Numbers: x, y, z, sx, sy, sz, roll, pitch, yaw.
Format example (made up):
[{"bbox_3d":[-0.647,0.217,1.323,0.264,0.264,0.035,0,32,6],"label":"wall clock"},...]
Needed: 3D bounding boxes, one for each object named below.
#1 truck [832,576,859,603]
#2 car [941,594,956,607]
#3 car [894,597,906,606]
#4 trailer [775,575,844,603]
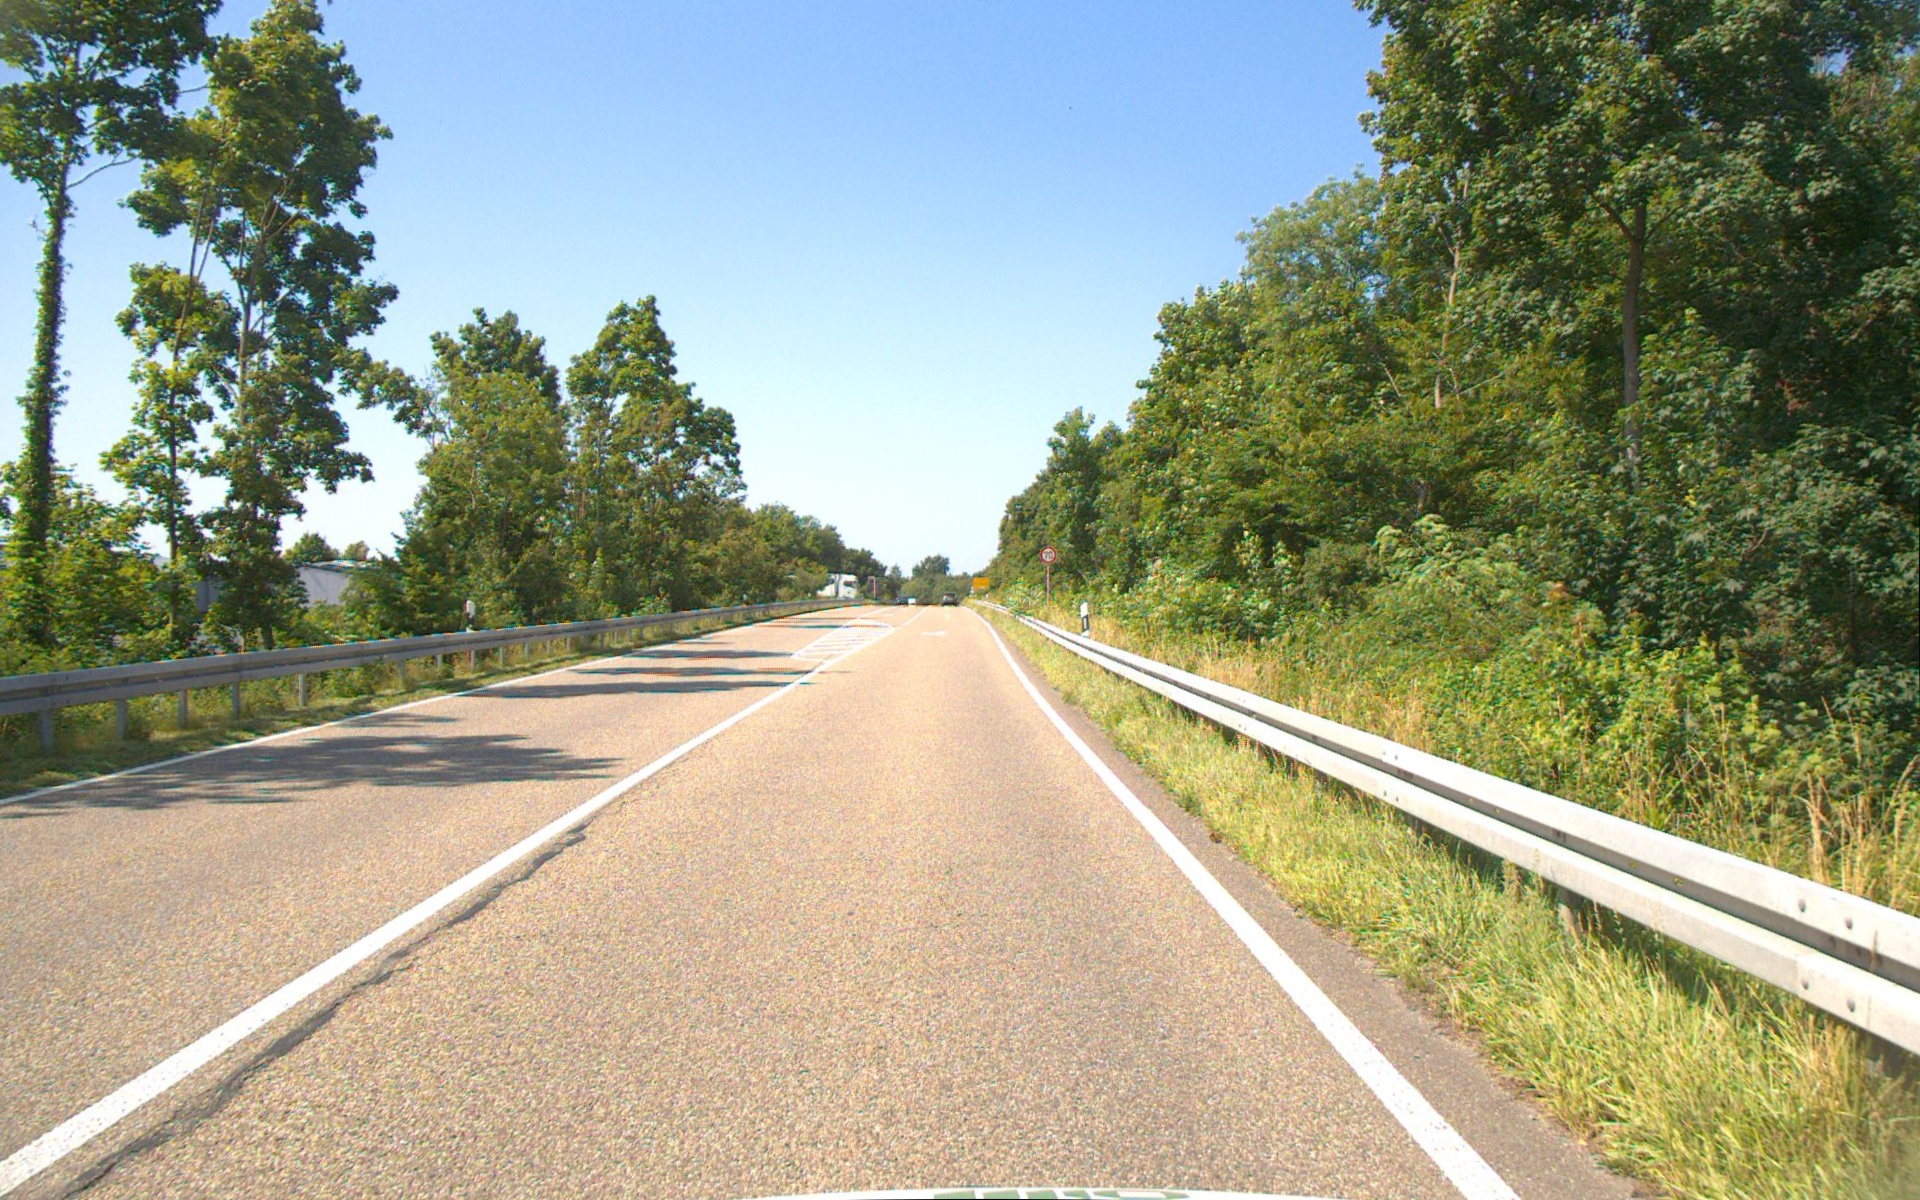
[{"bbox_3d":[-15.157,-1.391,219.762,3.394,3.599,2.000,0,0,1],"label":"truck"},{"bbox_3d":[-1.320,0.050,191.033,1.705,1.496,3.692,0,0,-1],"label":"car"},{"bbox_3d":[-9.333,0.254,256.413,1.695,1.289,3.904,0,0,-1],"label":"car"},{"bbox_3d":[-19.984,-1.427,219.852,8.914,3.641,2.000,0,0,1],"label":"trailer"}]
